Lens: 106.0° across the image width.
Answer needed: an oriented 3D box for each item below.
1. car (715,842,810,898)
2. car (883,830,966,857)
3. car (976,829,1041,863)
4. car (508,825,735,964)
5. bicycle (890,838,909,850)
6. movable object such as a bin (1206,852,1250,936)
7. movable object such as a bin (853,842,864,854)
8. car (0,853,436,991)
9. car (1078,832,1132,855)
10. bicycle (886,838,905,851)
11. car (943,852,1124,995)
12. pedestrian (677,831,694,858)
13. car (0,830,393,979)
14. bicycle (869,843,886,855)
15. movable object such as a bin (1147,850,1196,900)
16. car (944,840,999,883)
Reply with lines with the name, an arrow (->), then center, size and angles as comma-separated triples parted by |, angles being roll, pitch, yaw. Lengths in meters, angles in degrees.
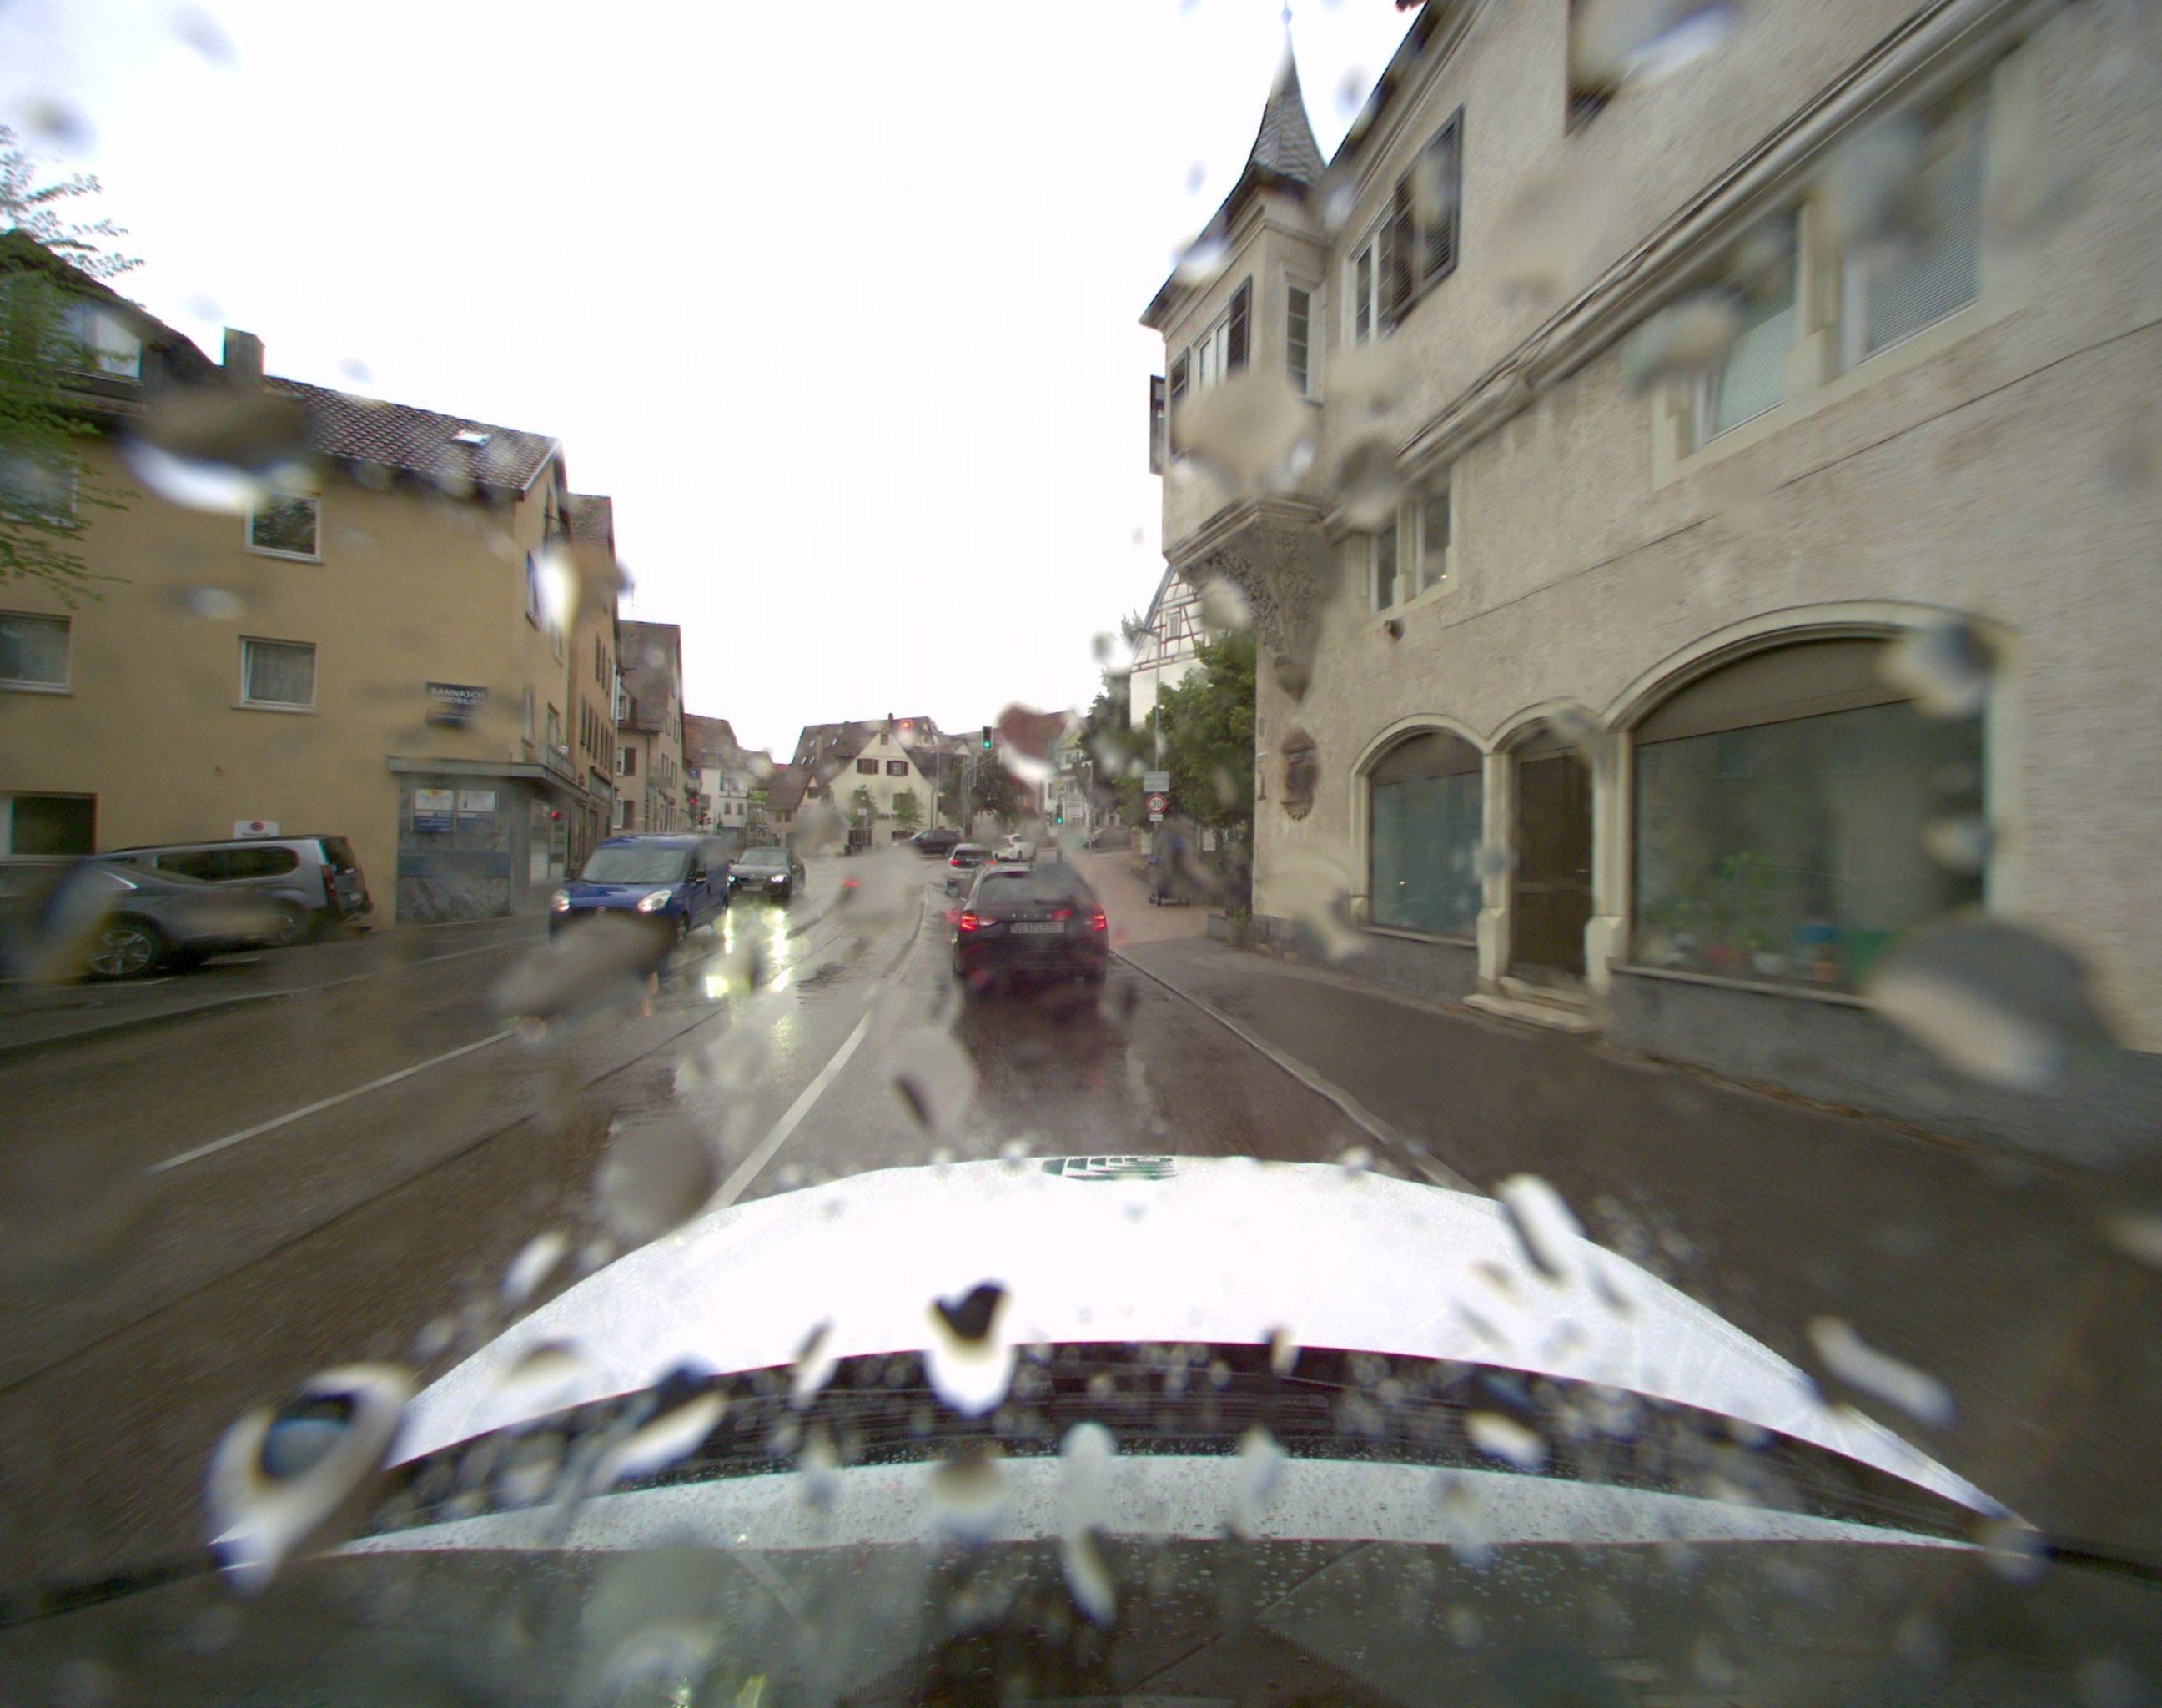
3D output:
car -> -8.875, 0.386, 23.021 | 1.863, 1.387, 4.245 | 0, 1, -13
car -> -9.536, -0.621, 49.621 | 4.752, 1.588, 1.817 | 0, 1, -22
car -> -3.593, -0.450, 41.258 | 1.871, 1.595, 4.344 | 1, 1, 15
car -> -7.207, 0.496, 13.350 | 1.995, 1.881, 4.361 | 0, 1, -12
bicycle -> -13.677, -0.732, 61.324 | 0.387, 0.912, 1.479 | 1, 2, 35
movable object such as a bin -> 2.596, 0.704, 14.401 | 0.415, 1.442, 0.637 | 1, -2, -33
movable object such as a bin -> -16.657, -0.431, 61.026 | 0.591, 0.901, 0.577 | 0, 2, -41
car -> -11.031, 0.740, 10.526 | 4.014, 1.453, 1.881 | 0, 2, -33
car -> 1.605, -0.721, 54.811 | 3.387, 1.477, 1.526 | 0, 1, -18
bicycle -> -14.020, -0.732, 61.643 | 0.387, 0.912, 1.479 | 1, 2, 35
car -> -0.521, 0.720, 10.683 | 1.881, 1.448, 4.355 | 1, 1, -1
pedestrian -> -27.465, -0.692, 56.591 | 0.803, 1.830, 0.706 | -5, 4, -40
car -> -14.935, 0.730, 13.487 | 4.947, 1.824, 1.945 | -6, 5, -28
bicycle -> -15.099, -0.377, 60.384 | 0.334, 0.818, 1.446 | 4, 4, 27
movable object such as a bin -> 2.419, 0.549, 21.973 | 1.152, 1.313, 1.185 | 0, 0, -3
car -> -3.975, 0.232, 29.590 | 1.855, 1.473, 3.989 | 0, 1, -8
